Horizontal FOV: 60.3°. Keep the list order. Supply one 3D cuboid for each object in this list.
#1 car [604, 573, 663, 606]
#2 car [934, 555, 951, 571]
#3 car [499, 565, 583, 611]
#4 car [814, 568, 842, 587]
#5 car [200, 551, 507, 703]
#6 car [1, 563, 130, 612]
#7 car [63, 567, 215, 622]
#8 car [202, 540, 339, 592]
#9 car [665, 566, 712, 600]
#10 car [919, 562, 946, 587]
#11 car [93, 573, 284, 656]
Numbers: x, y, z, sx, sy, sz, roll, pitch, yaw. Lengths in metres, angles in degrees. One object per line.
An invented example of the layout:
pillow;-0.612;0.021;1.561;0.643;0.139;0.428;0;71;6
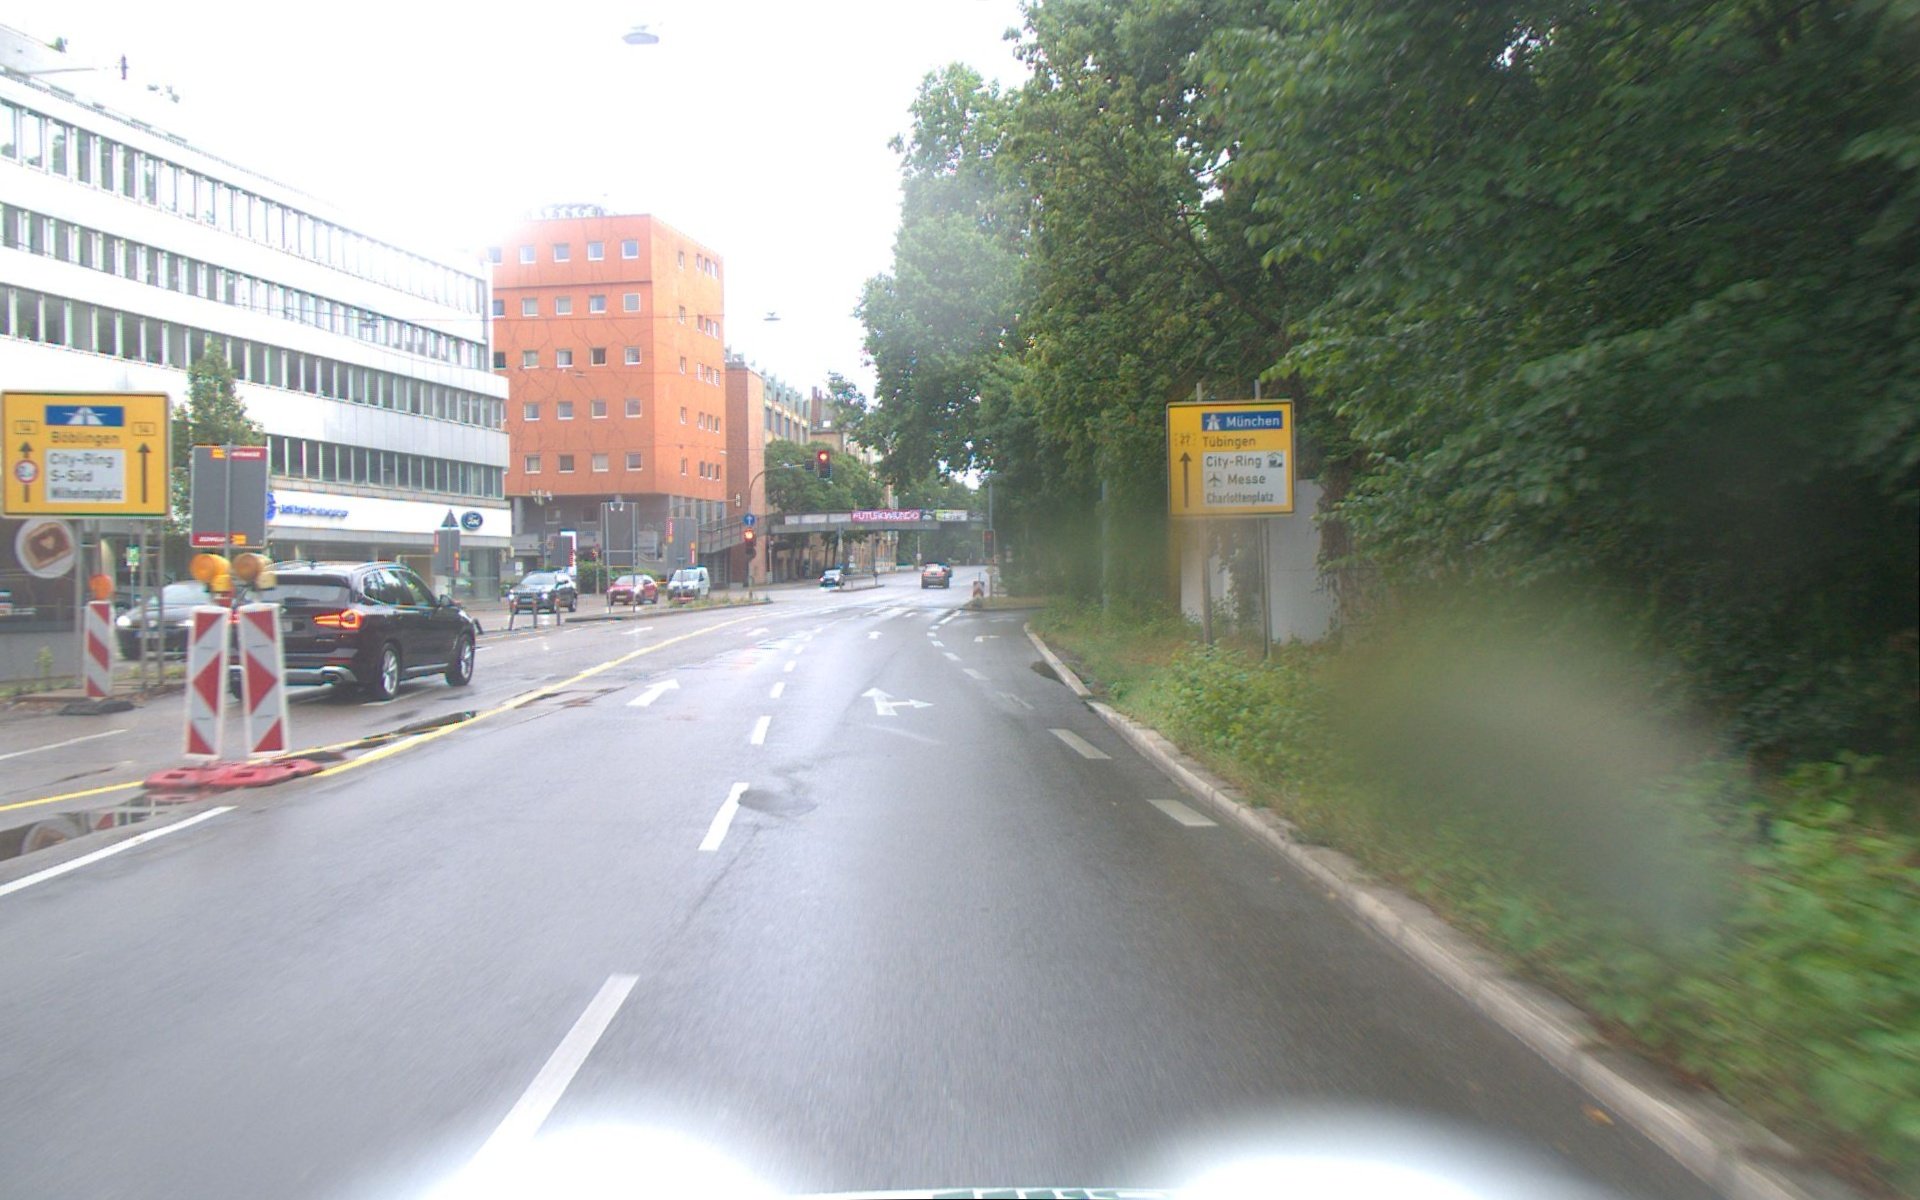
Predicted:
car;-16.081;-0.542;81.671;1.791;1.528;4.375;-2;1;3
car;-1.943;-4.113;183.042;1.727;1.726;3.707;-2;1;2
car;-16.797;-0.507;66.562;1.806;1.767;4.608;-1;1;5
car;-11.618;-1.995;145.821;1.952;1.545;4.002;0;1;2
car;-7.540;0.239;21.122;1.906;1.625;4.674;1;2;4
car;-32.140;-0.451;59.559;3.940;1.601;1.983;-3;1;-27
car;-31.974;-0.238;64.481;4.946;1.930;1.970;-3;1;-42
car;-29.669;-1.476;71.251;5.142;2.046;1.977;-3;1;-33
car;-15.269;-0.965;93.253;1.697;1.817;4.303;-2;1;3
car;-2.122;-2.009;129.892;2.077;1.764;4.199;1;2;-1
car;-14.317;0.214;30.954;1.654;1.378;4.114;-2;1;-1
